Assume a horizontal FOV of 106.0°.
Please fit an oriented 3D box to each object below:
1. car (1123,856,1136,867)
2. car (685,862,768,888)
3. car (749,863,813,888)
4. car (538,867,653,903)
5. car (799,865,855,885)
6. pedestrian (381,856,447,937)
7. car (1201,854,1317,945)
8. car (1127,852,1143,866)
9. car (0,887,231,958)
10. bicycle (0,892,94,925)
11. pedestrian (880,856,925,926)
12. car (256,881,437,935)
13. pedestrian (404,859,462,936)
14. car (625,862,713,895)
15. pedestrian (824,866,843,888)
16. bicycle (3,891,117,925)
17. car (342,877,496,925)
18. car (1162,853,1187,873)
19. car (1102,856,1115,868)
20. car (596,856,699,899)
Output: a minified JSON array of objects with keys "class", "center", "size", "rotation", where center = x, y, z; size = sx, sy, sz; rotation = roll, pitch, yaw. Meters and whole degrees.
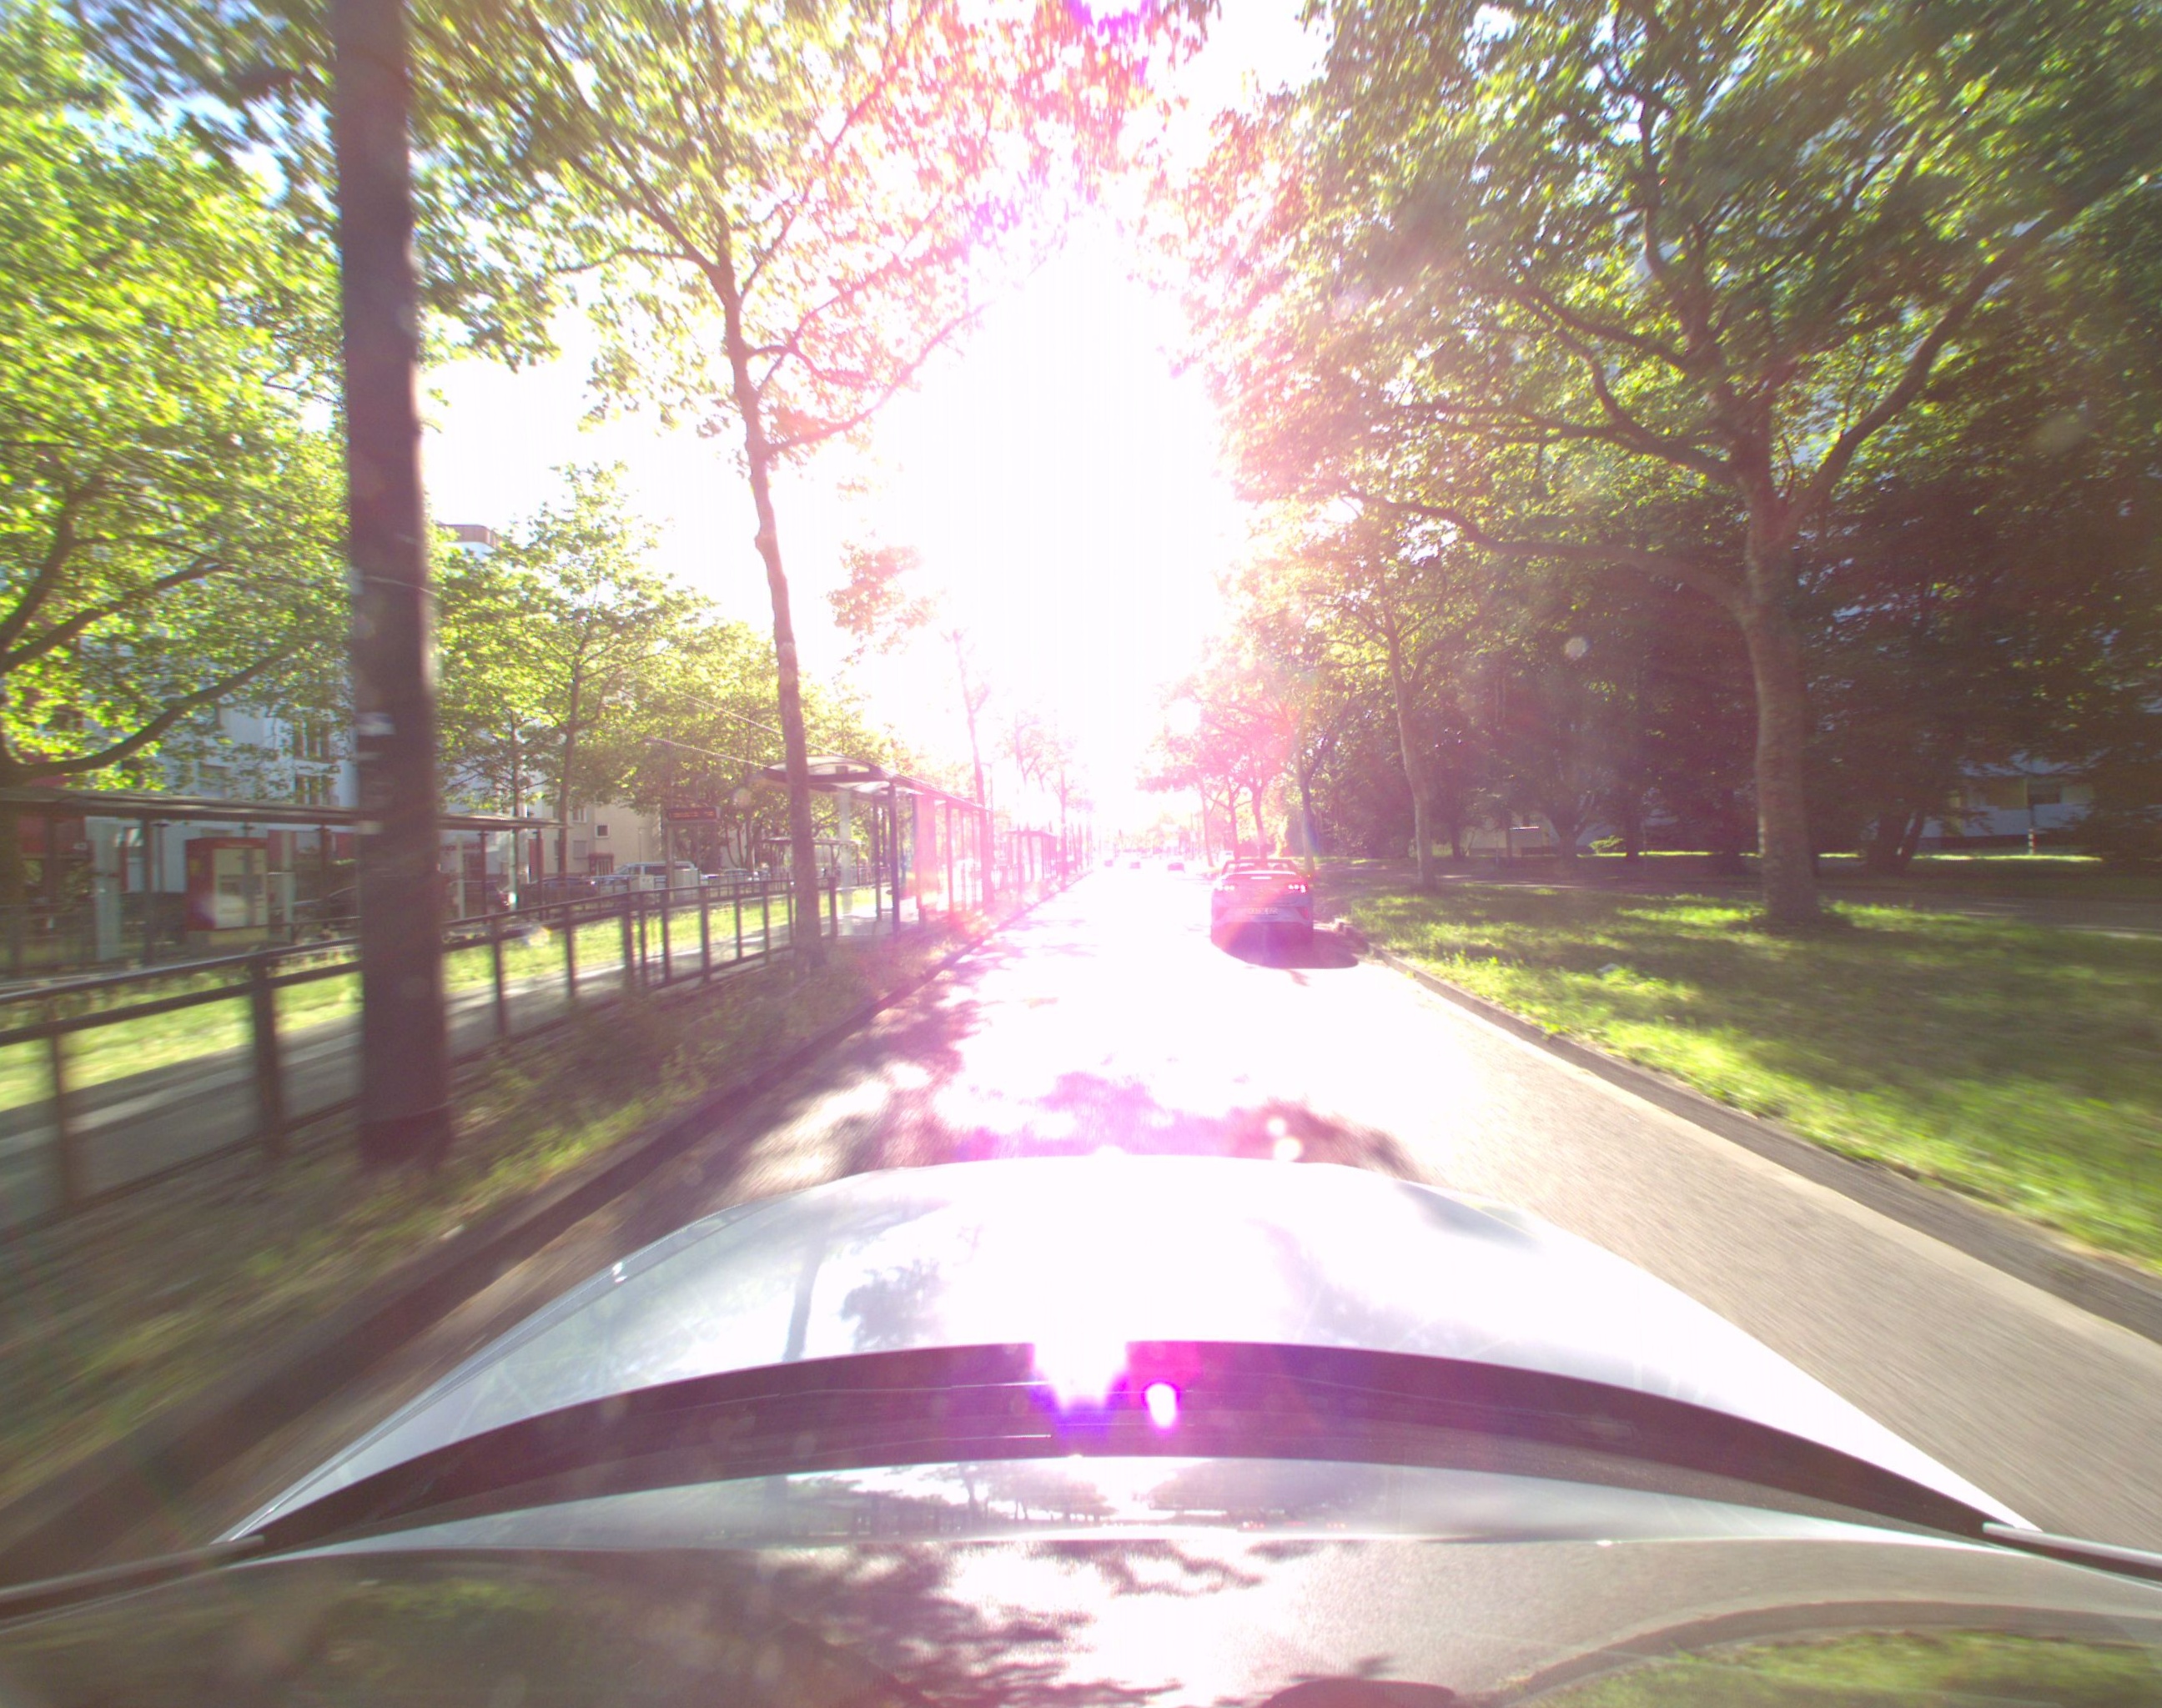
[{"class":"car","center":[6.680,1.056,112.147],"size":[1.671,1.475,4.134],"rotation":[-1,0,3]},{"class":"car","center":[-22.694,1.305,52.230],"size":[1.876,1.504,4.527],"rotation":[0,1,43]},{"class":"car","center":[-21.768,1.543,59.194],"size":[1.556,1.568,4.085],"rotation":[1,2,43]},{"class":"car","center":[-23.360,1.437,39.308],"size":[4.523,1.497,1.878],"rotation":[-1,1,-40]},{"class":"car","center":[-21.346,1.736,68.473],"size":[1.626,1.544,4.201],"rotation":[0,1,43]},{"class":"pedestrian","center":[-14.064,0.874,17.193],"size":[0.725,1.634,0.717],"rotation":[-3,-1,8]},{"class":"car","center":[3.239,0.761,15.547],"size":[1.766,1.483,4.108],"rotation":[-1,0,7]},{"class":"car","center":[6.070,0.569,91.609],"size":[1.633,1.494,3.504],"rotation":[-1,1,1]},{"class":"car","center":[-24.247,1.656,20.146],"size":[4.219,1.428,1.681],"rotation":[-1,1,-37]},{"class":"bicycle","center":[-35.930,1.856,28.078],"size":[0.693,0.928,2.594],"rotation":[-1,1,-2]},{"class":"pedestrian","center":[-3.304,0.675,15.115],"size":[0.732,1.252,0.587],"rotation":[-1,-1,-4]},{"class":"car","center":[-23.781,1.692,26.601],"size":[4.219,1.428,1.681],"rotation":[-1,1,-37]},{"class":"pedestrian","center":[-13.174,0.879,16.569],"size":[0.636,1.514,0.688],"rotation":[-4,0,32]},{"class":"car","center":[-23.038,1.333,45.599],"size":[4.082,1.610,1.669],"rotation":[-2,1,-42]},{"class":"pedestrian","center":[-13.231,1.225,43.532],"size":[0.692,1.127,0.662],"rotation":[-5,-1,2]},{"class":"bicycle","center":[-35.094,1.844,28.061],"size":[0.693,0.928,2.594],"rotation":[-1,1,-2]},{"class":"car","center":[-23.720,1.649,29.391],"size":[4.219,1.428,1.681],"rotation":[-1,1,-37]},{"class":"car","center":[8.701,0.862,75.973],"size":[1.974,1.792,4.616],"rotation":[-1,0,2]},{"class":"car","center":[3.743,1.138,111.437],"size":[1.704,1.603,3.350],"rotation":[-1,0,1]},{"class":"car","center":[-22.779,1.189,42.854],"size":[4.521,2.063,1.879],"rotation":[-1,1,-37]}]
